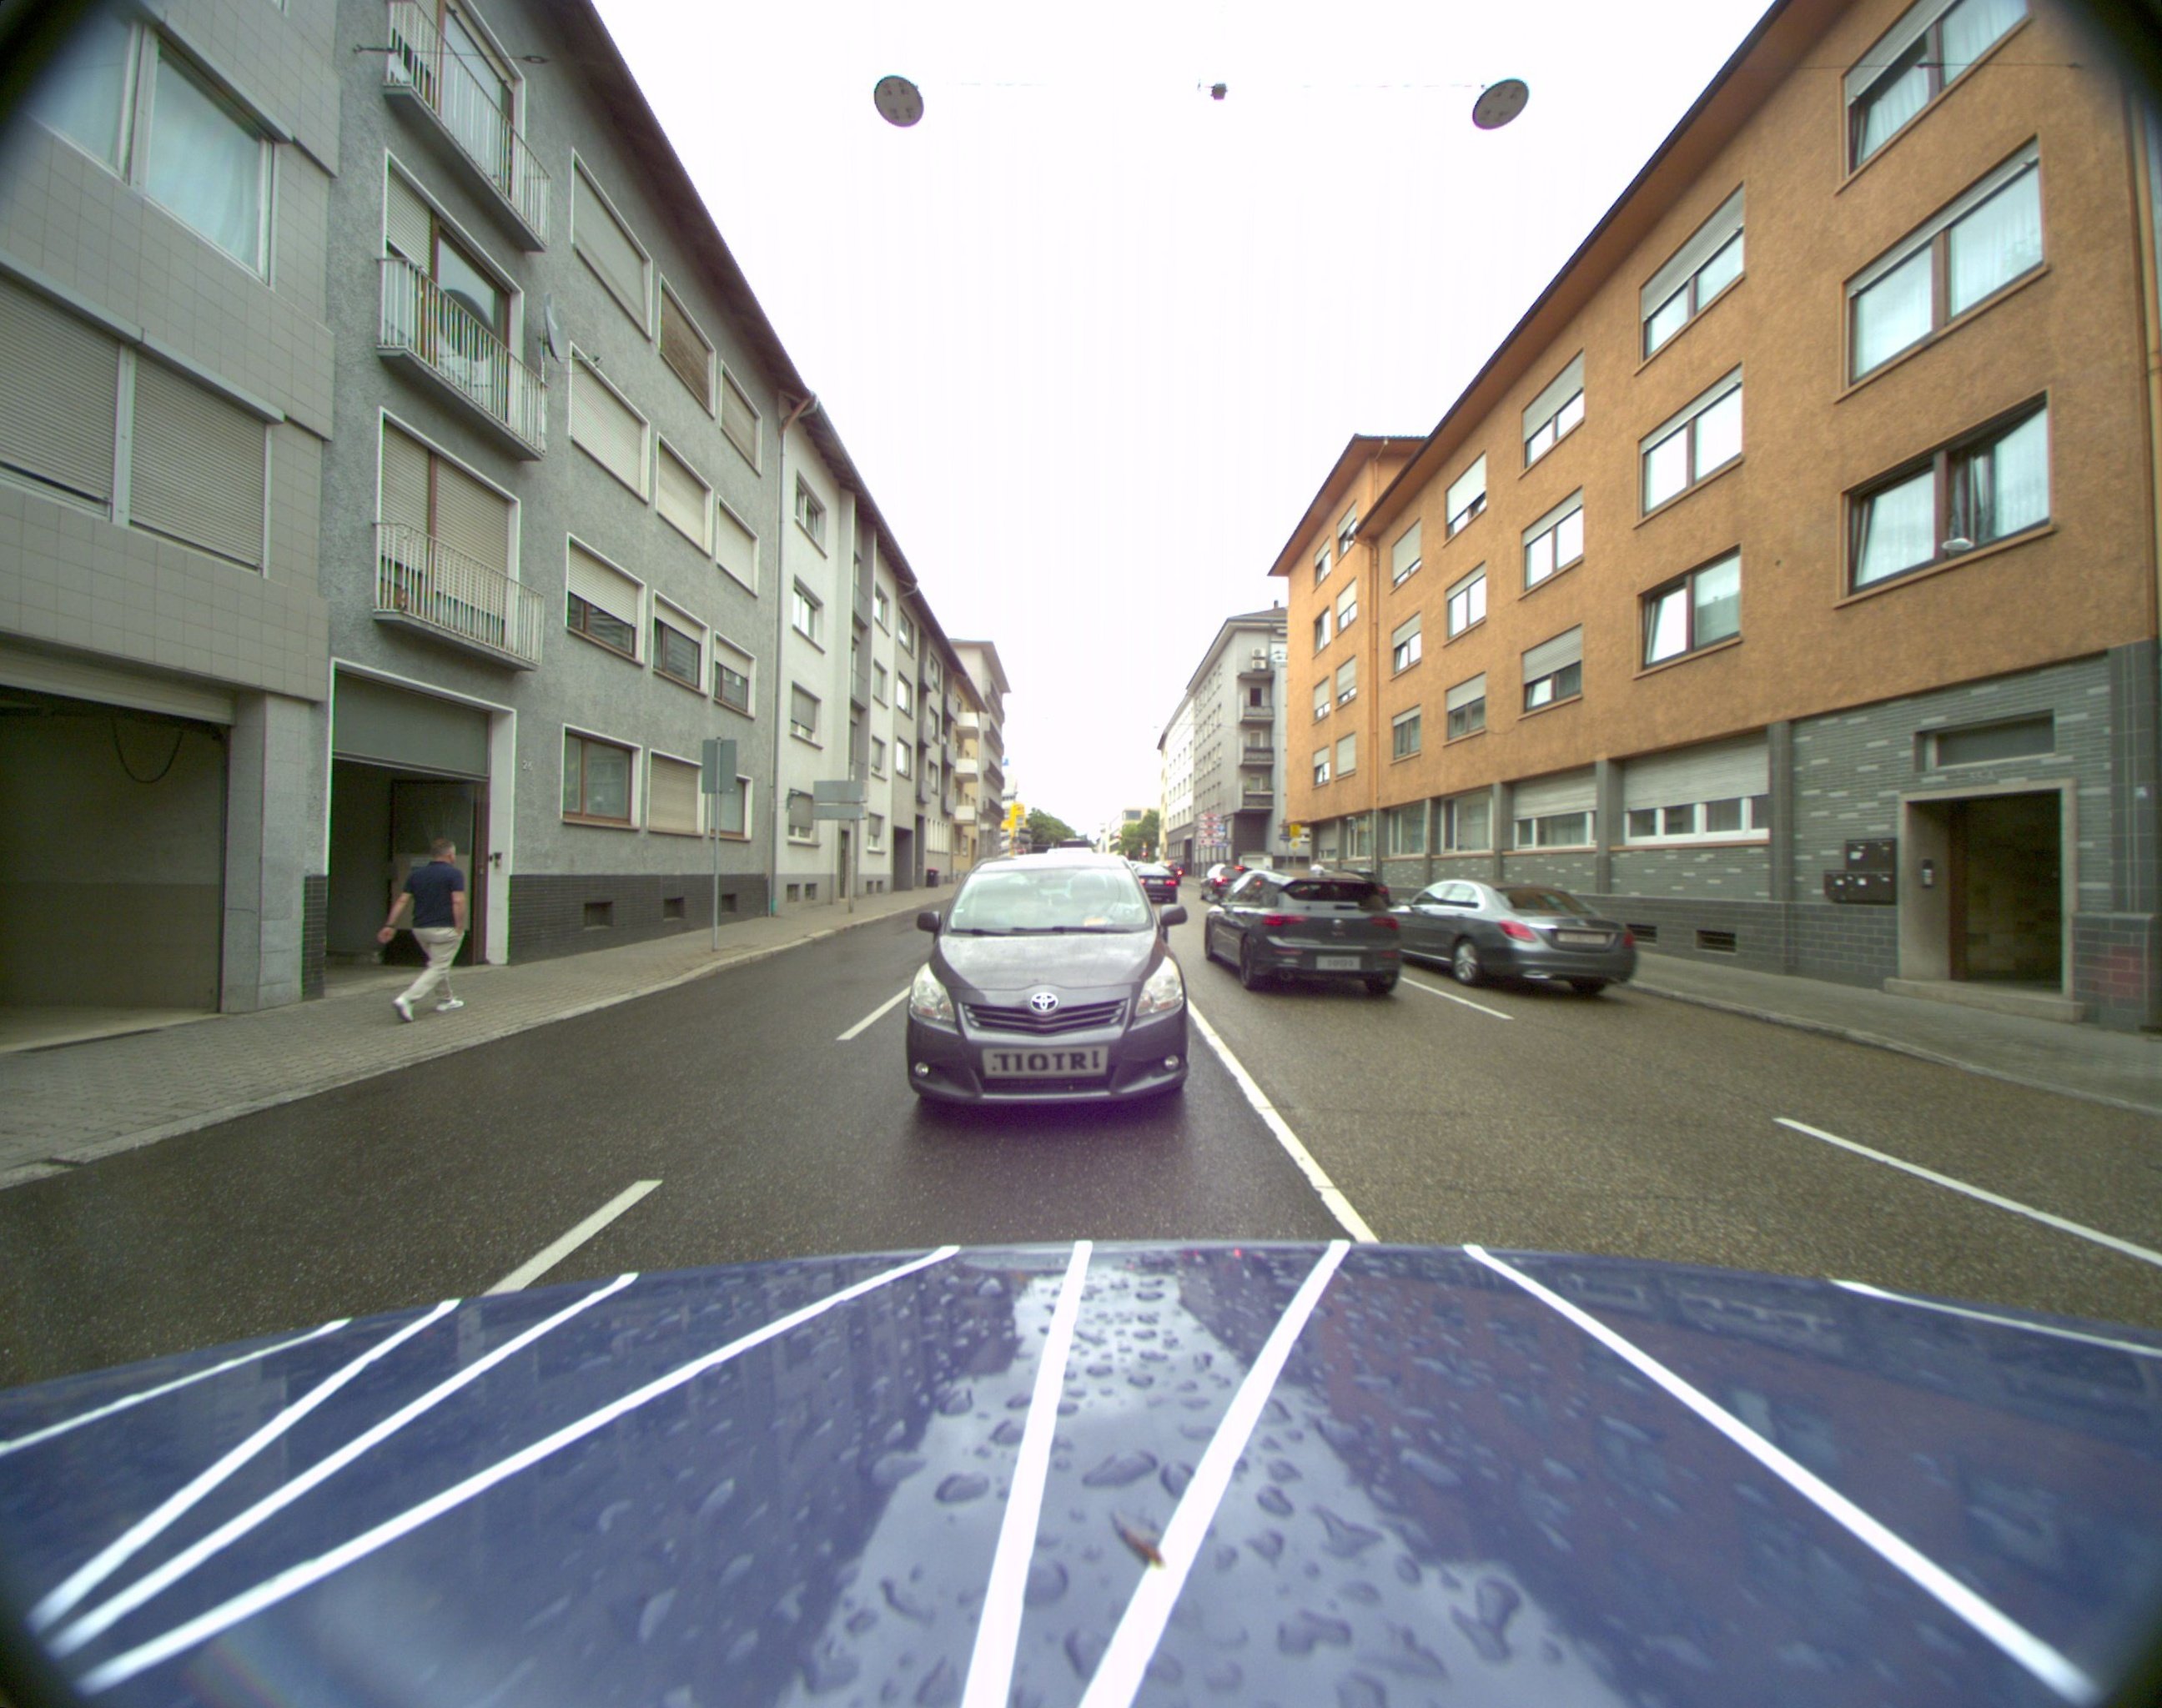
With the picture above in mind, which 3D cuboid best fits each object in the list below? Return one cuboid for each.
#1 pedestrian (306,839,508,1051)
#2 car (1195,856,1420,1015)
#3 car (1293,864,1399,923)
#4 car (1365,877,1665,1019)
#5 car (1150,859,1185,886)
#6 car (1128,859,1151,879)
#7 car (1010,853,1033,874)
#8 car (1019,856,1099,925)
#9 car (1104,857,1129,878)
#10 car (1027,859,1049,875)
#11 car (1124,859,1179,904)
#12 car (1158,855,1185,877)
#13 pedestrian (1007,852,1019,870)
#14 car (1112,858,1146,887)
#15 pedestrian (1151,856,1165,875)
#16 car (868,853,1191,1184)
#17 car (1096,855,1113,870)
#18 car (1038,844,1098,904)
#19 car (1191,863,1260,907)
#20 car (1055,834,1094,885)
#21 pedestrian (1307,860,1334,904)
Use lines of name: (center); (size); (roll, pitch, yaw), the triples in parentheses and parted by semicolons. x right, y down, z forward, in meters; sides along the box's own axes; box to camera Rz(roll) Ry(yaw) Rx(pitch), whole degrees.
pedestrian: (-6.486, 0.814, 7.391); (0.871, 1.855, 1.120); (4, 1, 1)
car: (2.760, 0.887, 10.299); (1.699, 1.571, 4.216); (2, 1, 0)
car: (8.046, 1.139, 23.457); (1.799, 1.466, 4.217); (-2, 1, 1)
car: (5.812, 1.152, 10.929); (1.699, 1.362, 4.365); (3, 1, -1)
car: (5.770, 1.191, 50.972); (1.699, 1.530, 4.435); (4, 1, 0)
car: (5.460, 1.352, 71.655); (1.856, 1.651, 4.610); (-2, 1, 1)
car: (-5.125, 0.776, 65.884); (1.856, 1.663, 4.215); (-2, 1, -4)
car: (-0.502, 0.886, 20.093); (1.856, 1.524, 3.792); (-2, 1, 1)
car: (2.802, 1.033, 61.337); (1.749, 1.530, 4.052); (2, 1, -1)
car: (-4.254, 1.295, 75.787); (1.856, 1.369, 4.217); (-2, 1, 1)
car: (2.542, 0.960, 28.194); (1.699, 1.362, 4.217); (2, 1, 1)
car: (7.821, 0.980, 65.749); (1.856, 1.712, 4.217); (-2, 1, 1)
pedestrian: (-6.848, 0.693, 76.418); (1.119, 1.741, 0.961); (1, 1, -5)
car: (2.810, 1.037, 45.202); (1.622, 1.530, 4.216); (2, 1, -1)
pedestrian: (8.309, 1.245, 82.316); (1.309, 2.002, 1.258); (-2, 1, 1)
car: (-0.250, 0.896, 6.249); (1.699, 1.712, 4.217); (-2, 1, 1)
car: (2.851, 1.048, 92.783); (1.856, 1.712, 4.217); (-2, 1, 1)
car: (-0.393, 0.628, 26.598); (1.856, 1.882, 4.217); (-2, 1, 1)
car: (5.513, 1.137, 29.457); (1.727, 1.464, 4.373); (2, 0, -1)
car: (-0.327, 0.287, 43.641); (2.033, 2.731, 4.368); (-2, 1, 1)
pedestrian: (9.251, 1.087, 29.406); (0.768, 1.630, 1.023); (-2, 1, 5)
